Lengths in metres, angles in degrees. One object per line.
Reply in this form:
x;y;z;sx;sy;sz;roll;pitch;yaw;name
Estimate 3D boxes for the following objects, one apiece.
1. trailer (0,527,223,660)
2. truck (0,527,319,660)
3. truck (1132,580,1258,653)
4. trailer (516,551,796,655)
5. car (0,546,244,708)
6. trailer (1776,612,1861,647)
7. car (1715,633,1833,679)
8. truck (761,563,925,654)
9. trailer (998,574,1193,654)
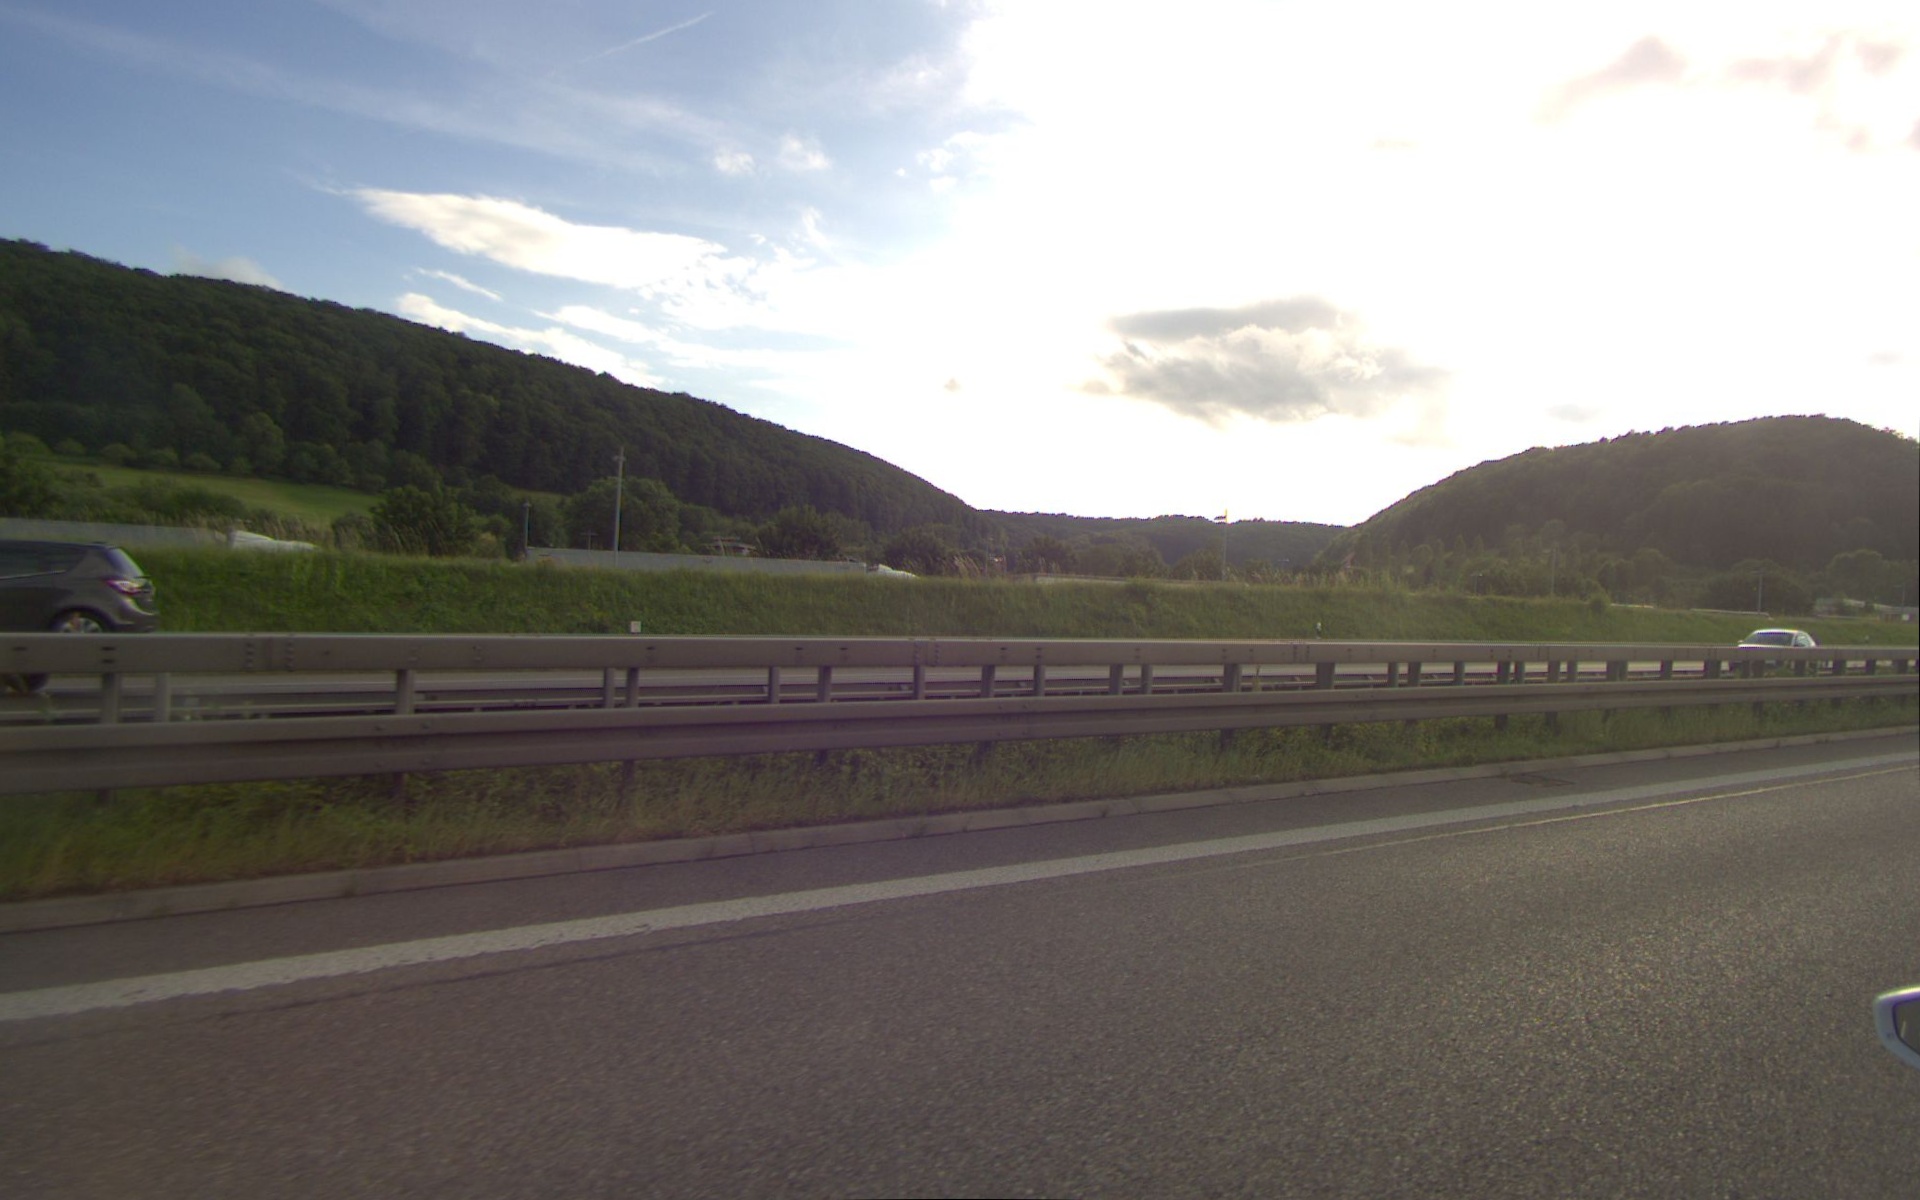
-29.883;-0.235;28.987;13.519;3.744;2.863;3;-3;-31;trailer
-25.356;-0.036;31.667;8.395;3.739;2.868;3;-3;-31;truck
12.724;0.976;54.264;6.515;3.739;2.867;2;-2;-31;truck
-11.845;0.274;39.793;10.251;3.745;2.864;2;-2;-30;trailer
-13.004;0.386;14.206;4.469;2.141;1.942;2;-2;-31;car
81.906;2.872;95.731;11.247;2.891;2.567;3;-1;-30;trailer
27.691;1.892;34.169;3.828;1.467;1.942;2;-2;-31;car
-5.078;0.467;43.830;6.515;3.739;2.867;2;-2;-31;truck
7.001;0.806;50.850;10.251;3.745;2.864;2;-2;-30;trailer
